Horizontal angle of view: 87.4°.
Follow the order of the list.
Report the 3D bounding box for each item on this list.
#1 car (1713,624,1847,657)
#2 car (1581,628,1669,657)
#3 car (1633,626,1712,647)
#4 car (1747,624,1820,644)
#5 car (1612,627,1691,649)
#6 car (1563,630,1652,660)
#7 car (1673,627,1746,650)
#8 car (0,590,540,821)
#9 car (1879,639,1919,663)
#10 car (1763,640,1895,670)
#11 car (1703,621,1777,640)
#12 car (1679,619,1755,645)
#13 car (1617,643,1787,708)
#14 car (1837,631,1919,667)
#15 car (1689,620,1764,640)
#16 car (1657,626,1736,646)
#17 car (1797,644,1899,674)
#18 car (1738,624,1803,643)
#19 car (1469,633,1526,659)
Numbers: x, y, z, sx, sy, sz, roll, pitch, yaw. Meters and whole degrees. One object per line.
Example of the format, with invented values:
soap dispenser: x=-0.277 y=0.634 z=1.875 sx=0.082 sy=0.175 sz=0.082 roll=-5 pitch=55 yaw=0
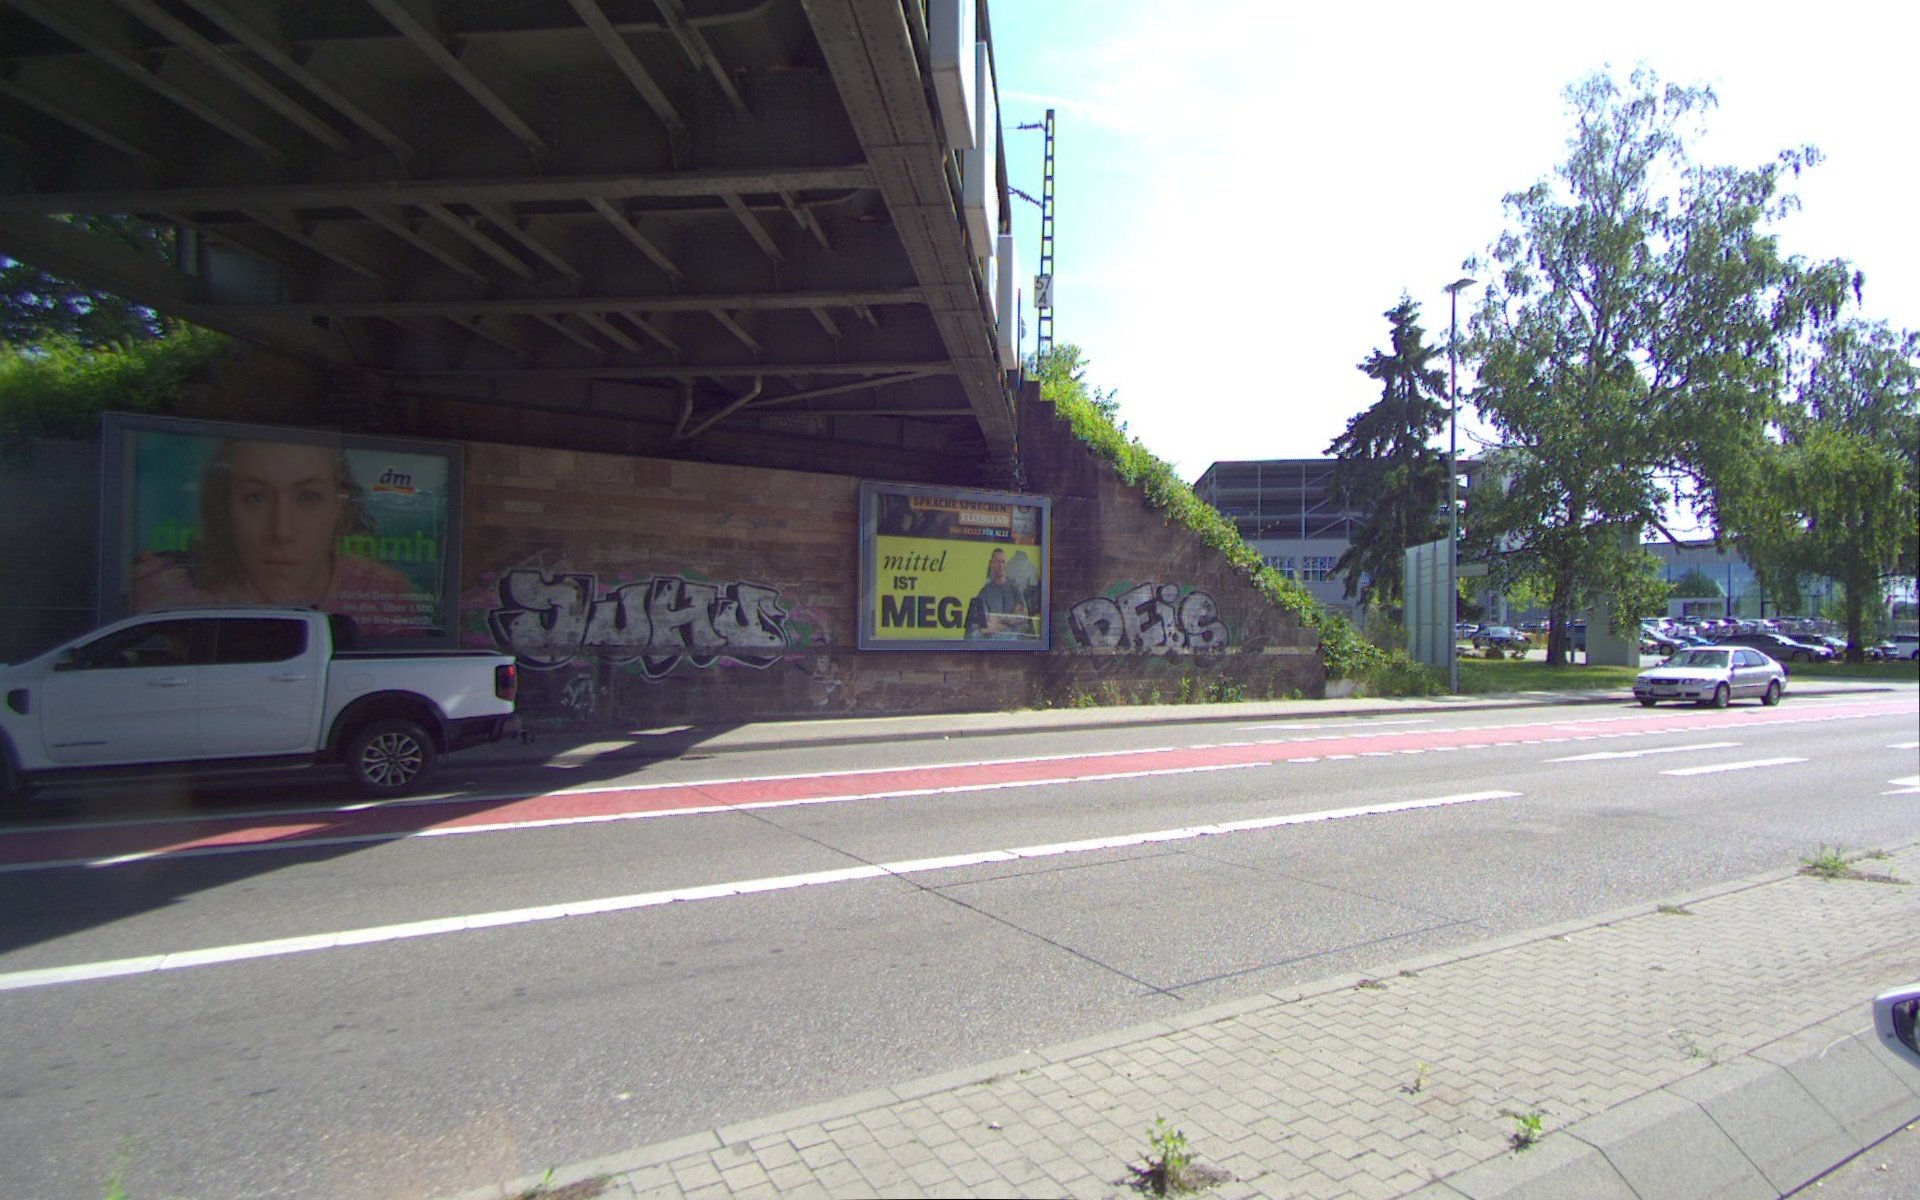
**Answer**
car: x=39.977 y=1.966 z=49.101 sx=1.976 sy=1.408 sz=4.665 roll=2 pitch=0 yaw=-29
car: x=41.382 y=2.609 z=62.570 sx=1.784 sy=1.585 sz=4.221 roll=2 pitch=0 yaw=-31
car: x=53.553 y=2.730 z=75.607 sx=1.957 sy=1.504 sz=4.477 roll=2 pitch=-2 yaw=-31
car: x=71.354 y=2.913 z=87.068 sx=1.962 sy=1.515 sz=4.499 roll=2 pitch=0 yaw=-29
car: x=51.392 y=2.812 z=74.720 sx=1.869 sy=1.437 sz=4.476 roll=2 pitch=0 yaw=-31
car: x=39.576 y=2.730 z=61.500 sx=1.784 sy=1.585 sz=4.221 roll=2 pitch=0 yaw=-31
car: x=58.073 y=2.973 z=77.927 sx=1.646 sy=1.728 sz=4.247 roll=2 pitch=-2 yaw=-31
car: x=-7.123 y=0.951 z=9.783 sx=5.387 sy=1.885 sz=1.985 roll=2 pitch=-4 yaw=-30
car: x=57.144 y=3.063 z=59.409 sx=1.725 sy=1.302 sz=3.771 roll=2 pitch=0 yaw=-31
car: x=45.210 y=2.830 z=52.360 sx=1.976 sy=1.285 sz=4.829 roll=2 pitch=0 yaw=-29
car: x=64.148 y=2.499 z=82.668 sx=1.957 sy=1.504 sz=4.477 roll=2 pitch=-2 yaw=-31
car: x=60.095 y=2.499 z=79.805 sx=1.957 sy=1.988 sz=4.477 roll=2 pitch=-2 yaw=-31
car: x=17.405 y=1.729 z=23.536 sx=4.267 sy=1.406 sz=1.628 roll=2 pitch=-3 yaw=-30
car: x=53.350 y=2.804 z=57.410 sx=1.975 sy=1.900 sz=4.445 roll=2 pitch=0 yaw=-28
car: x=62.155 y=2.419 z=81.495 sx=1.957 sy=1.571 sz=4.477 roll=2 pitch=-2 yaw=-31
car: x=56.090 y=2.728 z=76.589 sx=1.957 sy=1.504 sz=4.477 roll=2 pitch=-2 yaw=-31
car: x=47.035 y=3.107 z=53.277 sx=1.795 sy=1.389 sz=3.663 roll=2 pitch=0 yaw=-29
car: x=69.177 y=2.848 z=85.798 sx=1.648 sy=1.515 sz=3.969 roll=2 pitch=0 yaw=-29
car: x=35.220 y=3.003 z=65.950 sx=1.628 sy=1.567 sz=4.037 roll=2 pitch=-1 yaw=1
